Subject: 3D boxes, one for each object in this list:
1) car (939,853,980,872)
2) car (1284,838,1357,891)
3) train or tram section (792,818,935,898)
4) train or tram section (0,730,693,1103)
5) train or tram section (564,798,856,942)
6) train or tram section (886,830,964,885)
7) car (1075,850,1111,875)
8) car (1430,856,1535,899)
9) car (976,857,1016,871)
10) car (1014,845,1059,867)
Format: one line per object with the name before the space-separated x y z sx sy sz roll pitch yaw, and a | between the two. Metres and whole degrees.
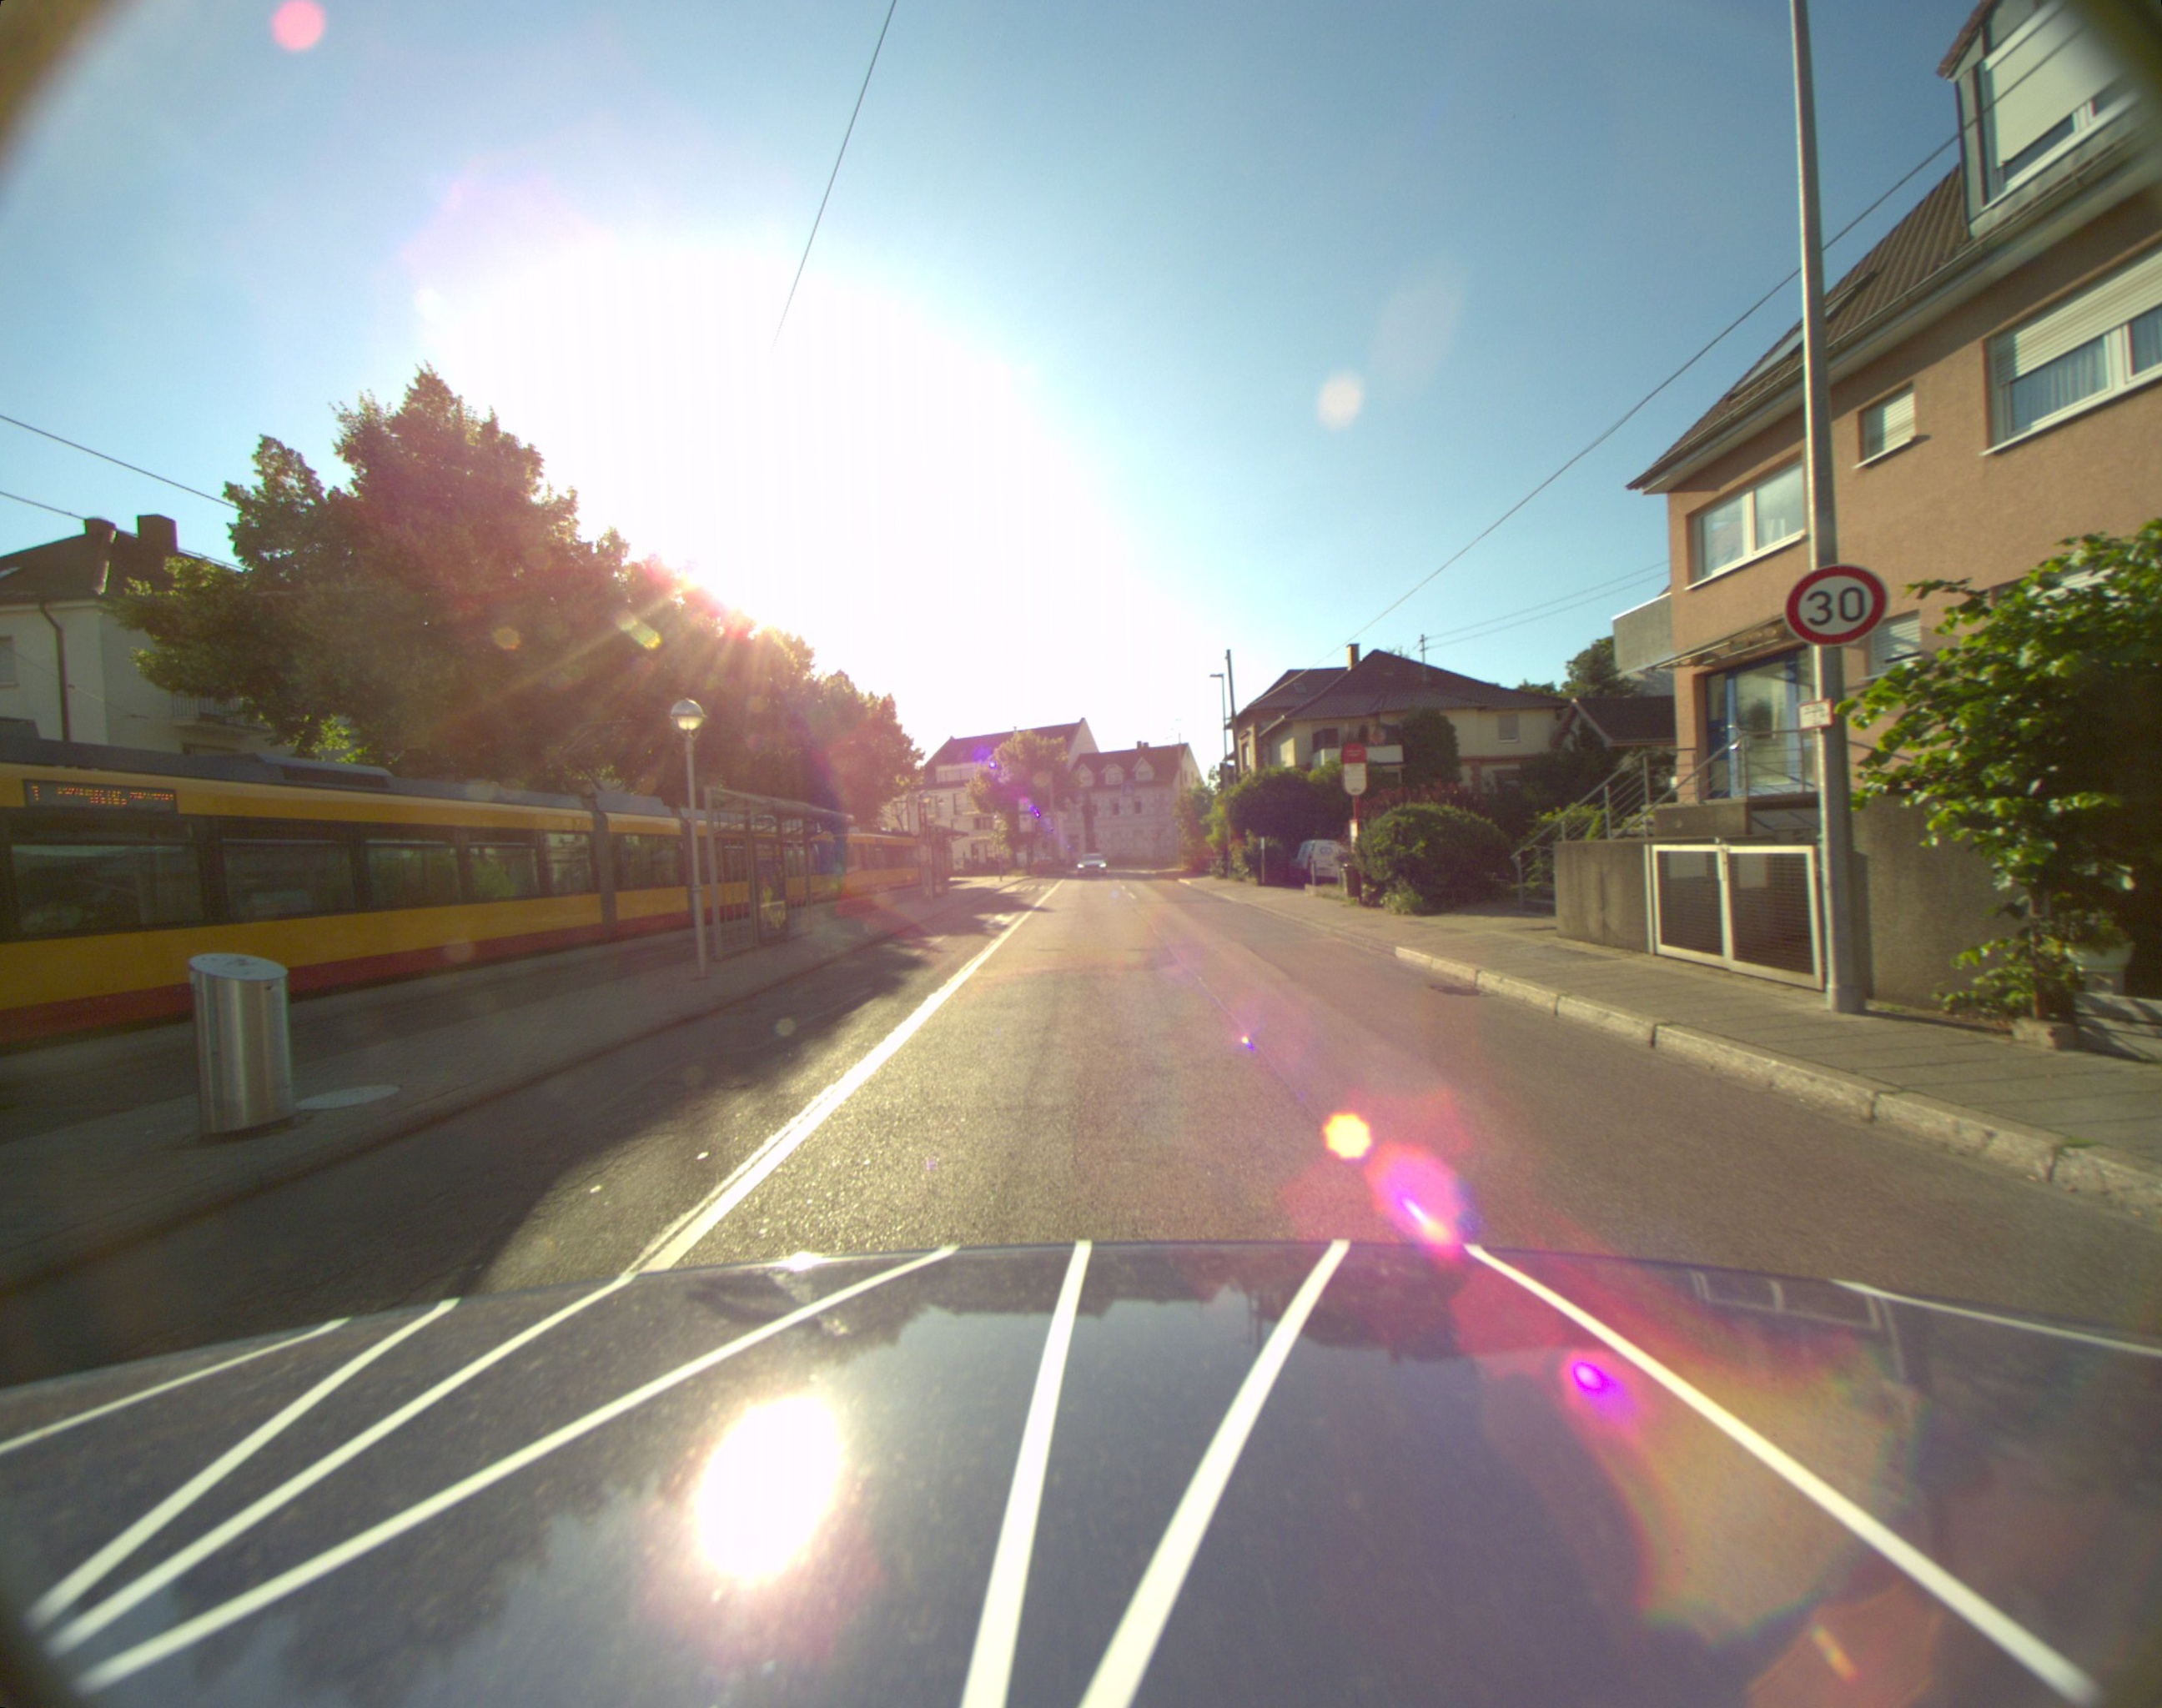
car | -14.277 1.003 89.248 4.263 1.945 2.003 -2 1 20
car | 9.129 0.353 29.244 1.705 1.804 3.672 4 1 3
train or tram section | -10.946 0.191 40.898 2.965 3.401 15.939 -2 0 0
train or tram section | -11.598 0.548 11.400 2.964 3.514 15.967 -2 1 1
train or tram section | -11.321 0.286 25.855 2.964 3.514 13.462 -2 1 1
train or tram section | -11.022 0.223 55.425 2.965 3.401 13.462 -2 0 -1
car | 0.834 0.550 49.548 1.998 1.453 4.451 -3 0 5
car | 15.301 0.845 29.193 1.846 1.508 3.791 1 0 -4
car | -9.741 1.099 86.915 4.116 1.339 1.938 -3 1 28
car | -4.424 0.222 75.376 1.875 1.921 4.780 -4 0 -39
